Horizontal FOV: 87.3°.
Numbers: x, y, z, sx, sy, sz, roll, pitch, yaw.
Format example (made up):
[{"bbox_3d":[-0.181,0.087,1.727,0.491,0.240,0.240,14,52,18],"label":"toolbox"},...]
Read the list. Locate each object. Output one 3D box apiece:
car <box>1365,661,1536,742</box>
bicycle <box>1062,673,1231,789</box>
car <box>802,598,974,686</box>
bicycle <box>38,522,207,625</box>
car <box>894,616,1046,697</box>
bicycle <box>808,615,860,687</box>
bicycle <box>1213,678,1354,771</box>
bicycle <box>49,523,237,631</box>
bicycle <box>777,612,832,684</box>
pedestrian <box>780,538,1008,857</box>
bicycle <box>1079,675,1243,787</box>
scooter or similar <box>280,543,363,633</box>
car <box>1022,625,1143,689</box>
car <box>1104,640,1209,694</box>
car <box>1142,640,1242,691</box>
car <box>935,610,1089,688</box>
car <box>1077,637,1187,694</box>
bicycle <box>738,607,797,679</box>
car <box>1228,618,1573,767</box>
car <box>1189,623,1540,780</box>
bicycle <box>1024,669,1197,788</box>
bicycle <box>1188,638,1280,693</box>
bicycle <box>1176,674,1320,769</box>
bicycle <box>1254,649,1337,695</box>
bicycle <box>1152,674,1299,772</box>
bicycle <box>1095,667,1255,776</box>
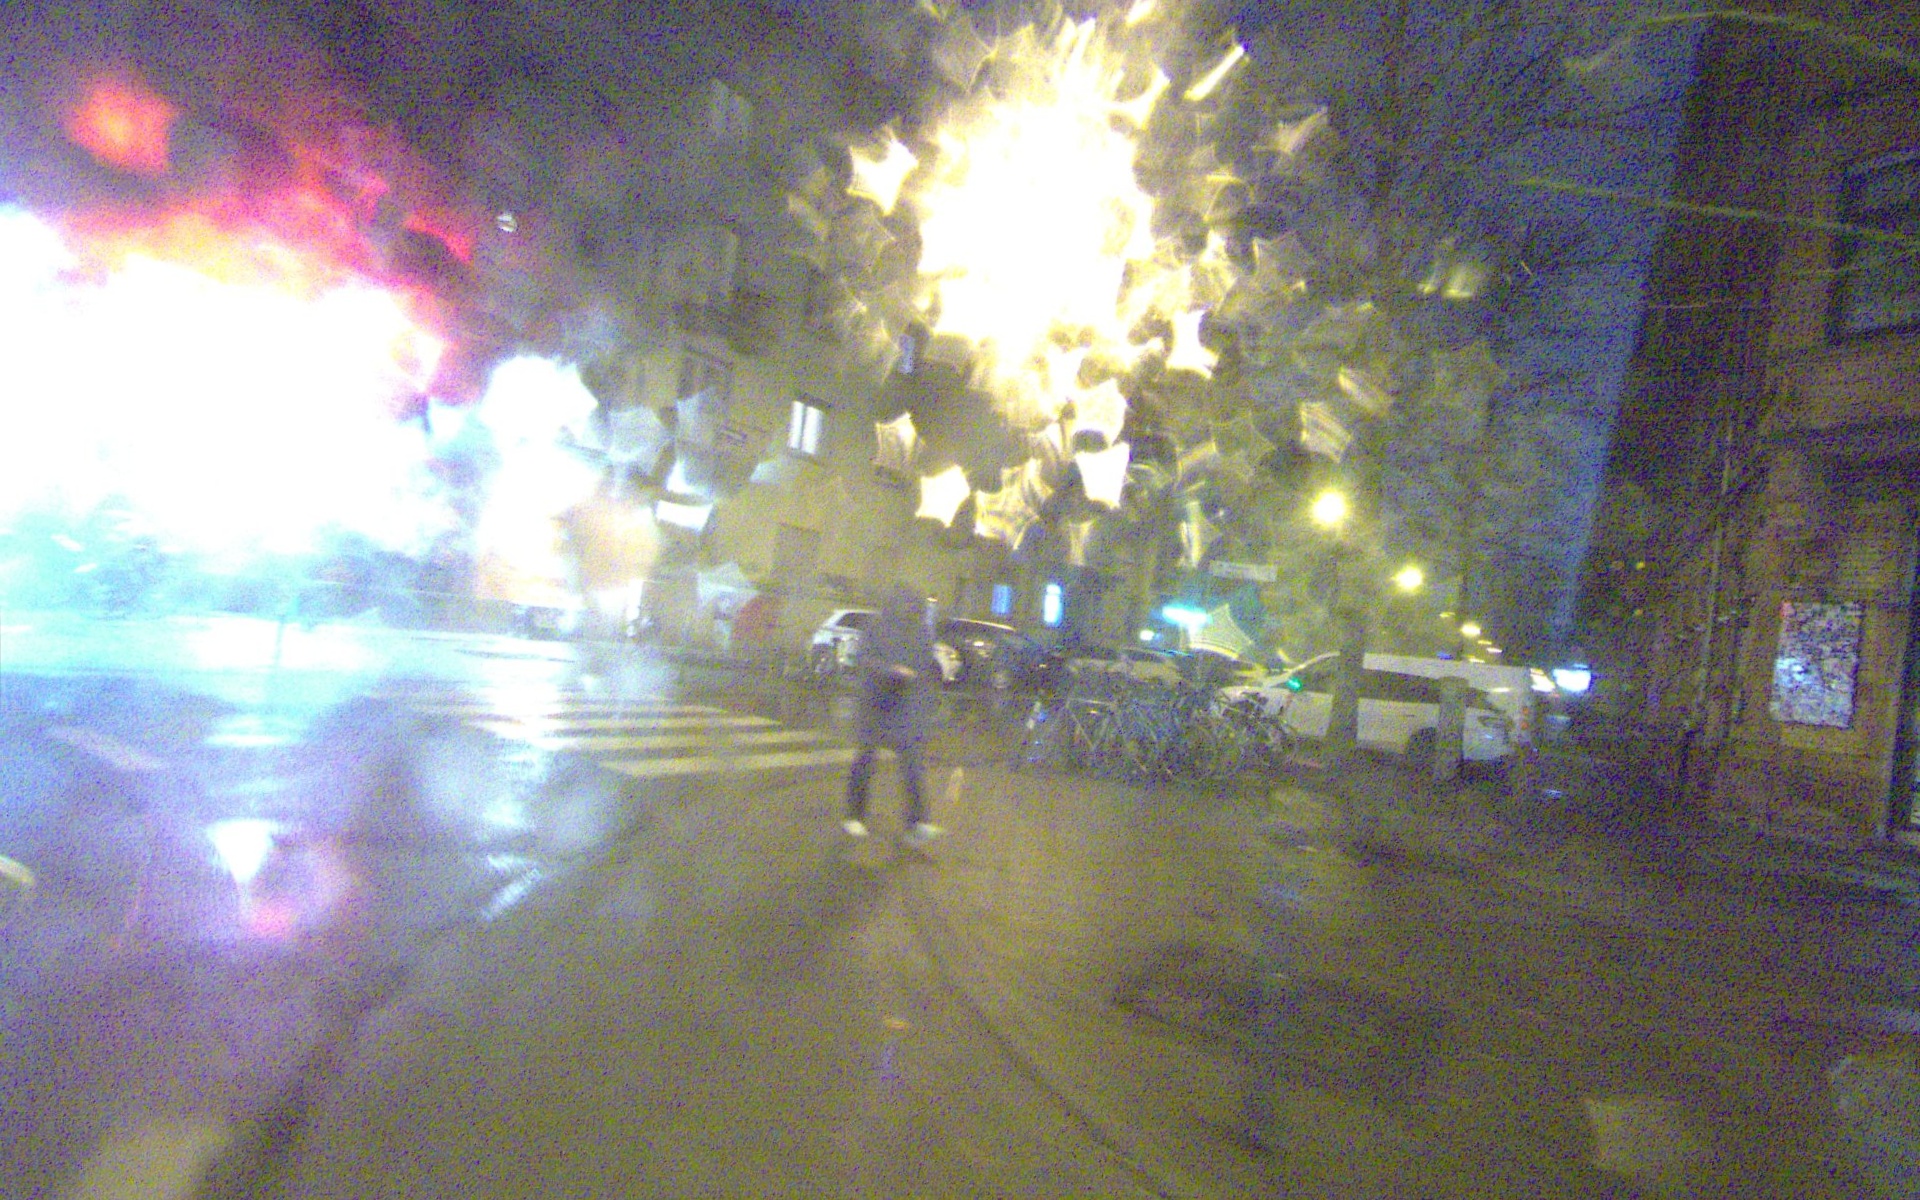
[{"bbox_3d":[14.921,3.055,30.683,4.387,1.783,1.998,6,-2,30],"label":"car"},{"bbox_3d":[2.117,1.471,11.552,1.780,1.021,0.403,7,0,32],"label":"bicycle"},{"bbox_3d":[-1.629,1.004,23.582,3.622,1.595,1.760,6,-3,6],"label":"car"},{"bbox_3d":[-11.369,-0.329,13.716,0.378,1.187,1.644,3,-4,35],"label":"bicycle"},{"bbox_3d":[0.313,1.457,25.917,3.622,1.595,1.760,6,-3,6],"label":"car"},{"bbox_3d":[-2.259,0.945,18.235,0.443,1.189,1.968,6,-3,4],"label":"bicycle"},{"bbox_3d":[4.553,1.735,14.231,1.748,1.021,0.403,7,0,32],"label":"bicycle"},{"bbox_3d":[-10.619,-0.271,13.150,0.378,1.188,1.782,7,-1,35],"label":"bicycle"},{"bbox_3d":[-2.794,0.884,18.243,0.443,1.189,1.968,6,-3,4],"label":"bicycle"},{"bbox_3d":[-0.432,0.595,6.558,0.970,1.855,0.874,6,0,43],"label":"pedestrian"},{"bbox_3d":[2.354,1.518,11.903,1.780,1.021,0.379,7,0,32],"label":"bicycle"},{"bbox_3d":[-9.931,-0.196,15.633,1.293,1.244,0.525,7,-1,37],"label":"scooter or similar"},{"bbox_3d":[3.896,1.845,32.340,3.622,1.595,1.760,6,-3,6],"label":"car"},{"bbox_3d":[7.386,2.527,38.160,3.622,1.595,1.760,6,-3,6],"label":"car"},{"bbox_3d":[9.350,2.645,40.755,3.622,1.595,1.760,6,-3,6],"label":"car"},{"bbox_3d":[1.489,1.378,28.292,4.029,1.681,1.760,6,-3,6],"label":"car"},{"bbox_3d":[6.099,2.336,35.931,3.622,1.595,1.760,6,-3,6],"label":"car"},{"bbox_3d":[-3.465,0.807,18.262,0.443,1.189,1.968,6,-3,4],"label":"bicycle"},{"bbox_3d":[8.036,1.628,18.660,5.454,1.912,1.998,6,-2,30],"label":"car"},{"bbox_3d":[6.629,1.598,16.704,5.011,1.783,1.998,6,-2,30],"label":"car"},{"bbox_3d":[1.662,1.405,11.294,1.780,1.021,0.454,7,0,32],"label":"bicycle"},{"bbox_3d":[12.967,3.066,47.837,3.924,2.038,2.002,7,0,12],"label":"bicycle"},{"bbox_3d":[3.988,1.659,13.989,1.780,1.021,0.403,7,0,32],"label":"bicycle"},{"bbox_3d":[19.006,4.059,57.127,3.924,2.038,2.001,7,0,6],"label":"bicycle"},{"bbox_3d":[3.562,1.640,13.589,1.780,1.021,0.403,7,0,32],"label":"bicycle"},{"bbox_3d":[2.600,1.455,12.273,1.780,1.021,0.403,7,0,32],"label":"bicycle"}]
